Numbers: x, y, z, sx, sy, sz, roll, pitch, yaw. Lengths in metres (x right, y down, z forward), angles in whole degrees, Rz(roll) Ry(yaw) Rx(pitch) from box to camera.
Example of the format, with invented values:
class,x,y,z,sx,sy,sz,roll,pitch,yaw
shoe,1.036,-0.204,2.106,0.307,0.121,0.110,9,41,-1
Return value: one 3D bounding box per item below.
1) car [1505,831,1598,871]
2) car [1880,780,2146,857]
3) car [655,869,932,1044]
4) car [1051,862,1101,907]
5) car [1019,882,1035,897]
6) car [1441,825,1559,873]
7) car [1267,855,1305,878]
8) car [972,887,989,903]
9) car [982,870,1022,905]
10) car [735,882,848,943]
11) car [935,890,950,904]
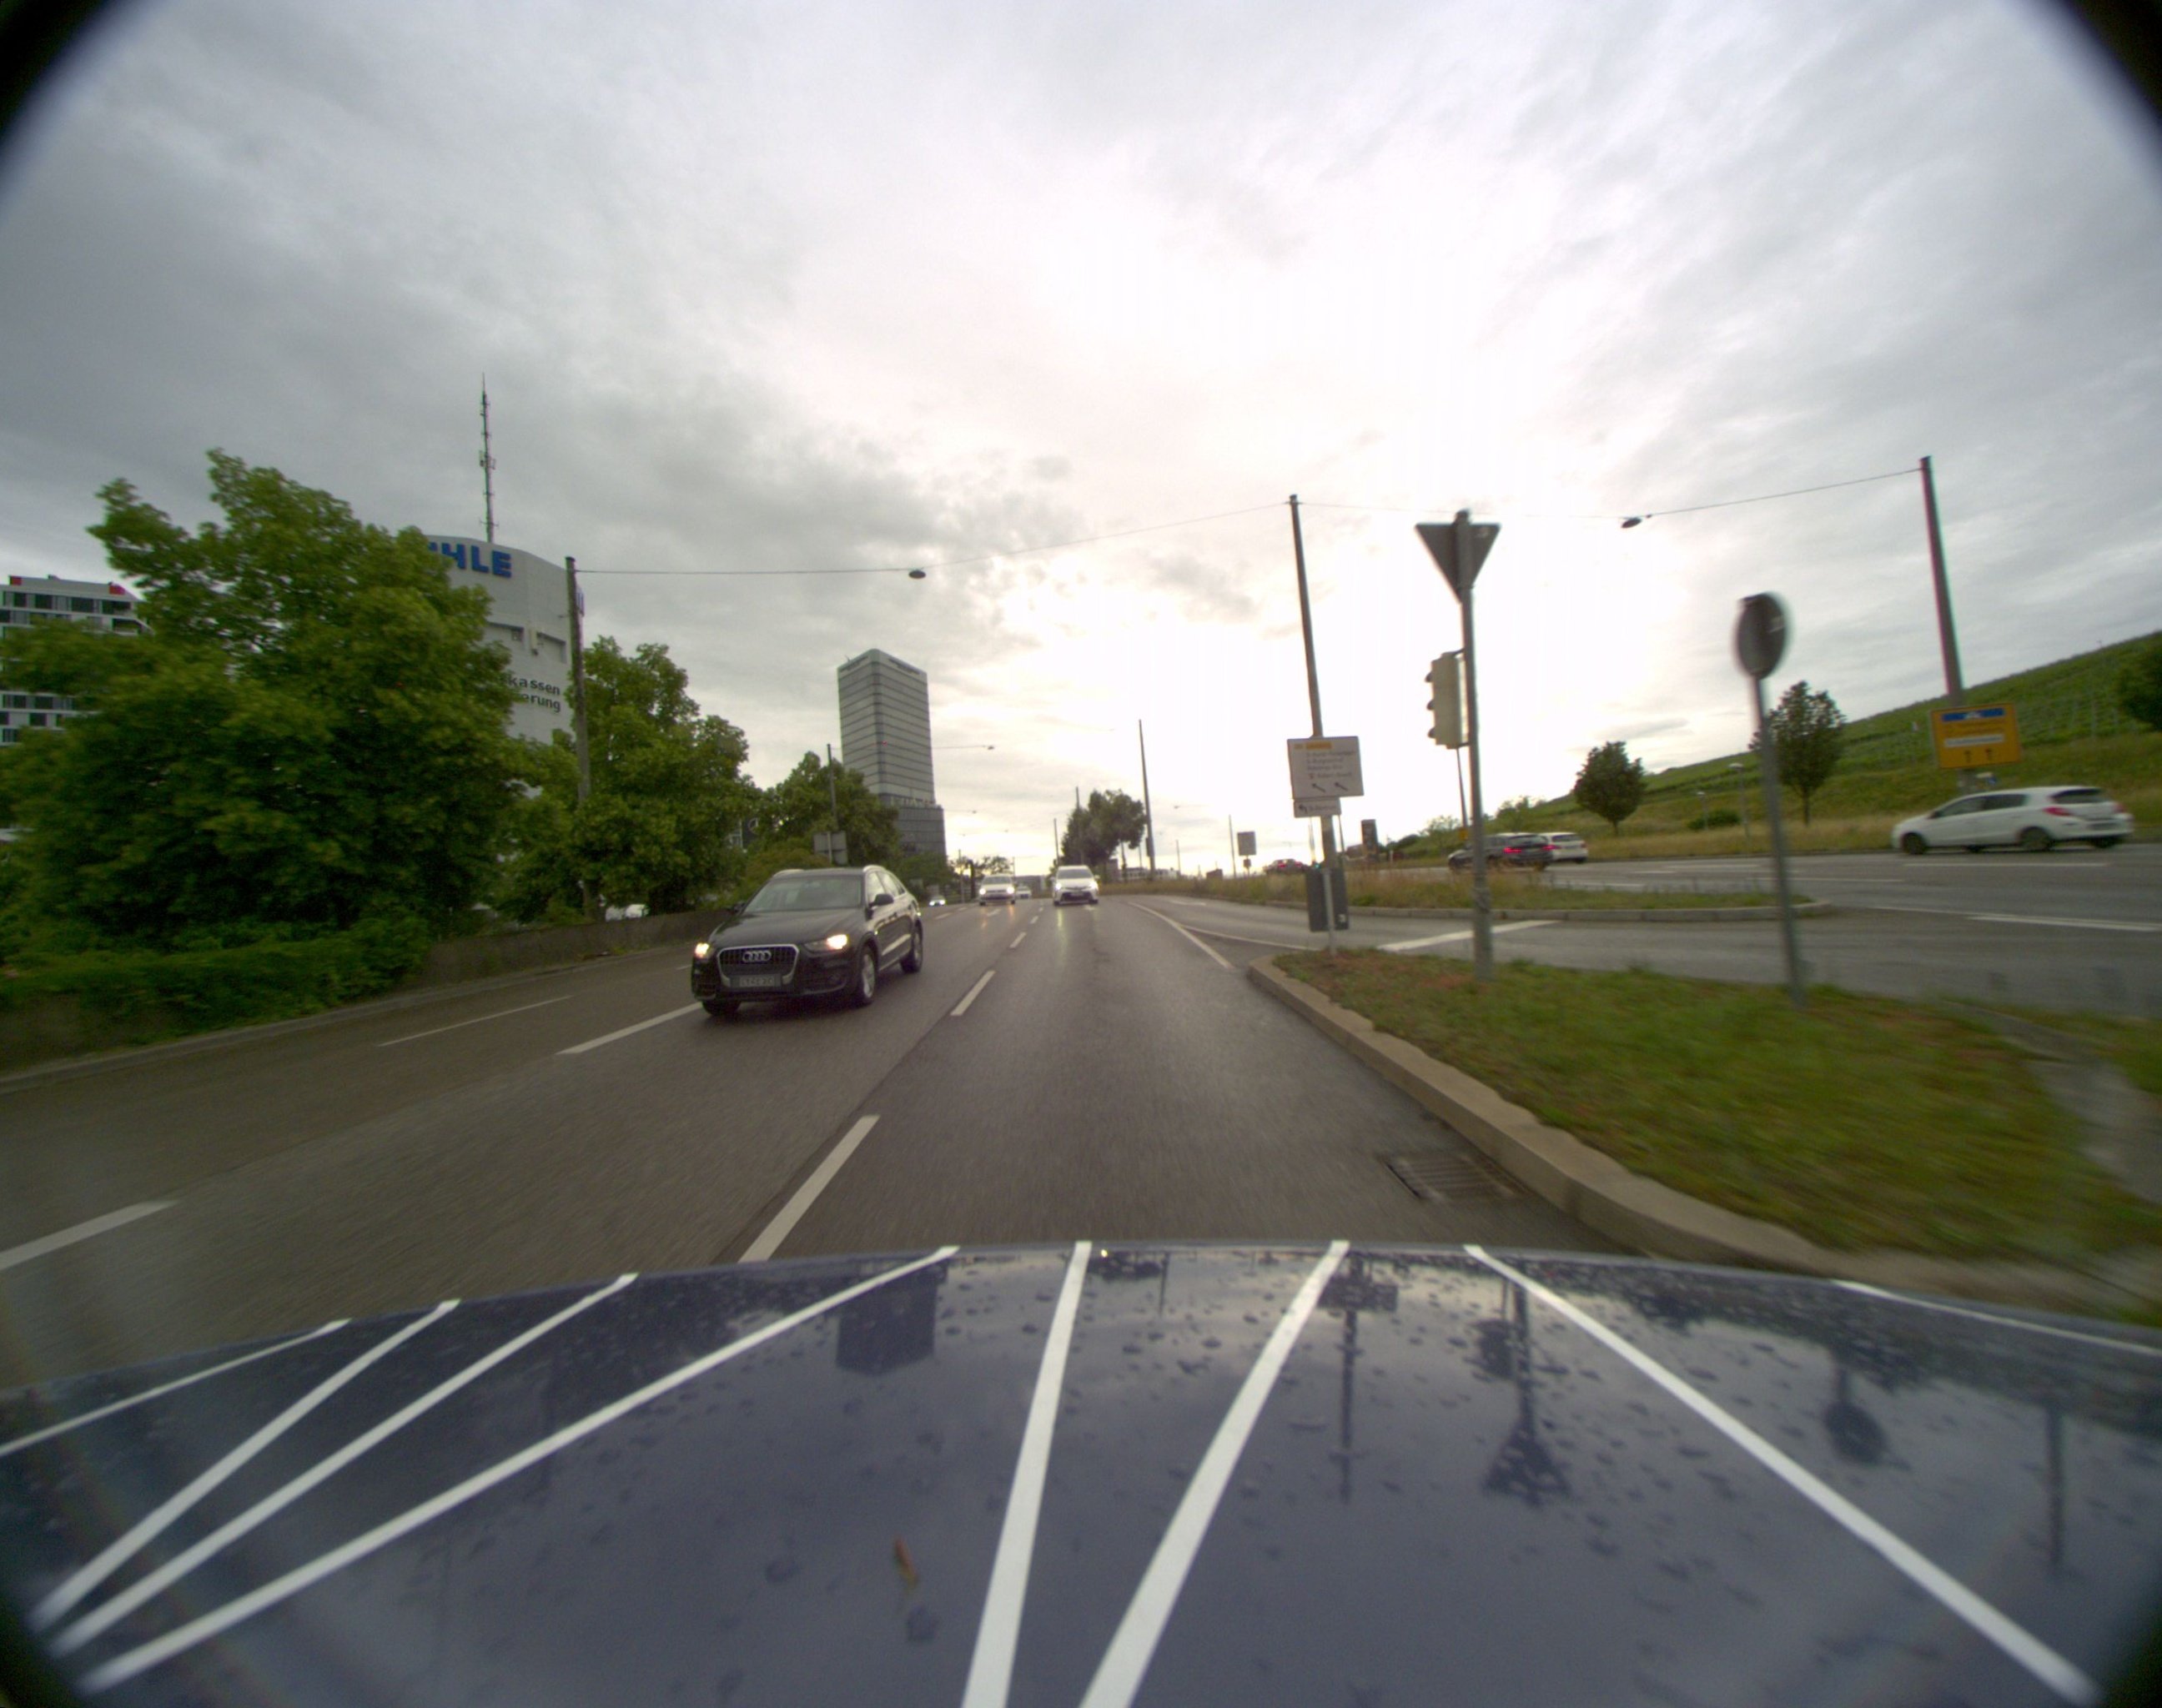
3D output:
class,x,y,z,sx,sy,sz,roll,pitch,yaw
car,22.375,-0.149,36.348,1.772,1.639,4.177,-5,1,1
car,22.019,-0.755,18.218,1.655,1.454,3.775,-5,-1,1
car,-3.257,1.061,9.590,1.730,1.525,4.127,-5,0,1
car,-0.251,1.222,31.584,1.827,1.574,4.297,-5,0,-2
car,-5.666,3.742,79.508,1.543,1.420,3.807,-4,-3,-6
car,15.382,-0.169,28.184,1.755,1.495,4.463,-5,0,-1
car,15.641,0.972,58.088,1.772,1.508,4.002,-5,-2,1
car,-11.925,4.887,90.268,1.803,1.763,3.999,-4,-3,-9
car,-3.831,1.563,36.622,1.731,1.463,4.262,-4,-1,-7
car,-9.148,1.789,24.447,1.876,1.417,4.347,-5,1,0
car,-17.078,5.318,93.686,1.636,1.466,3.676,-4,-3,-9
